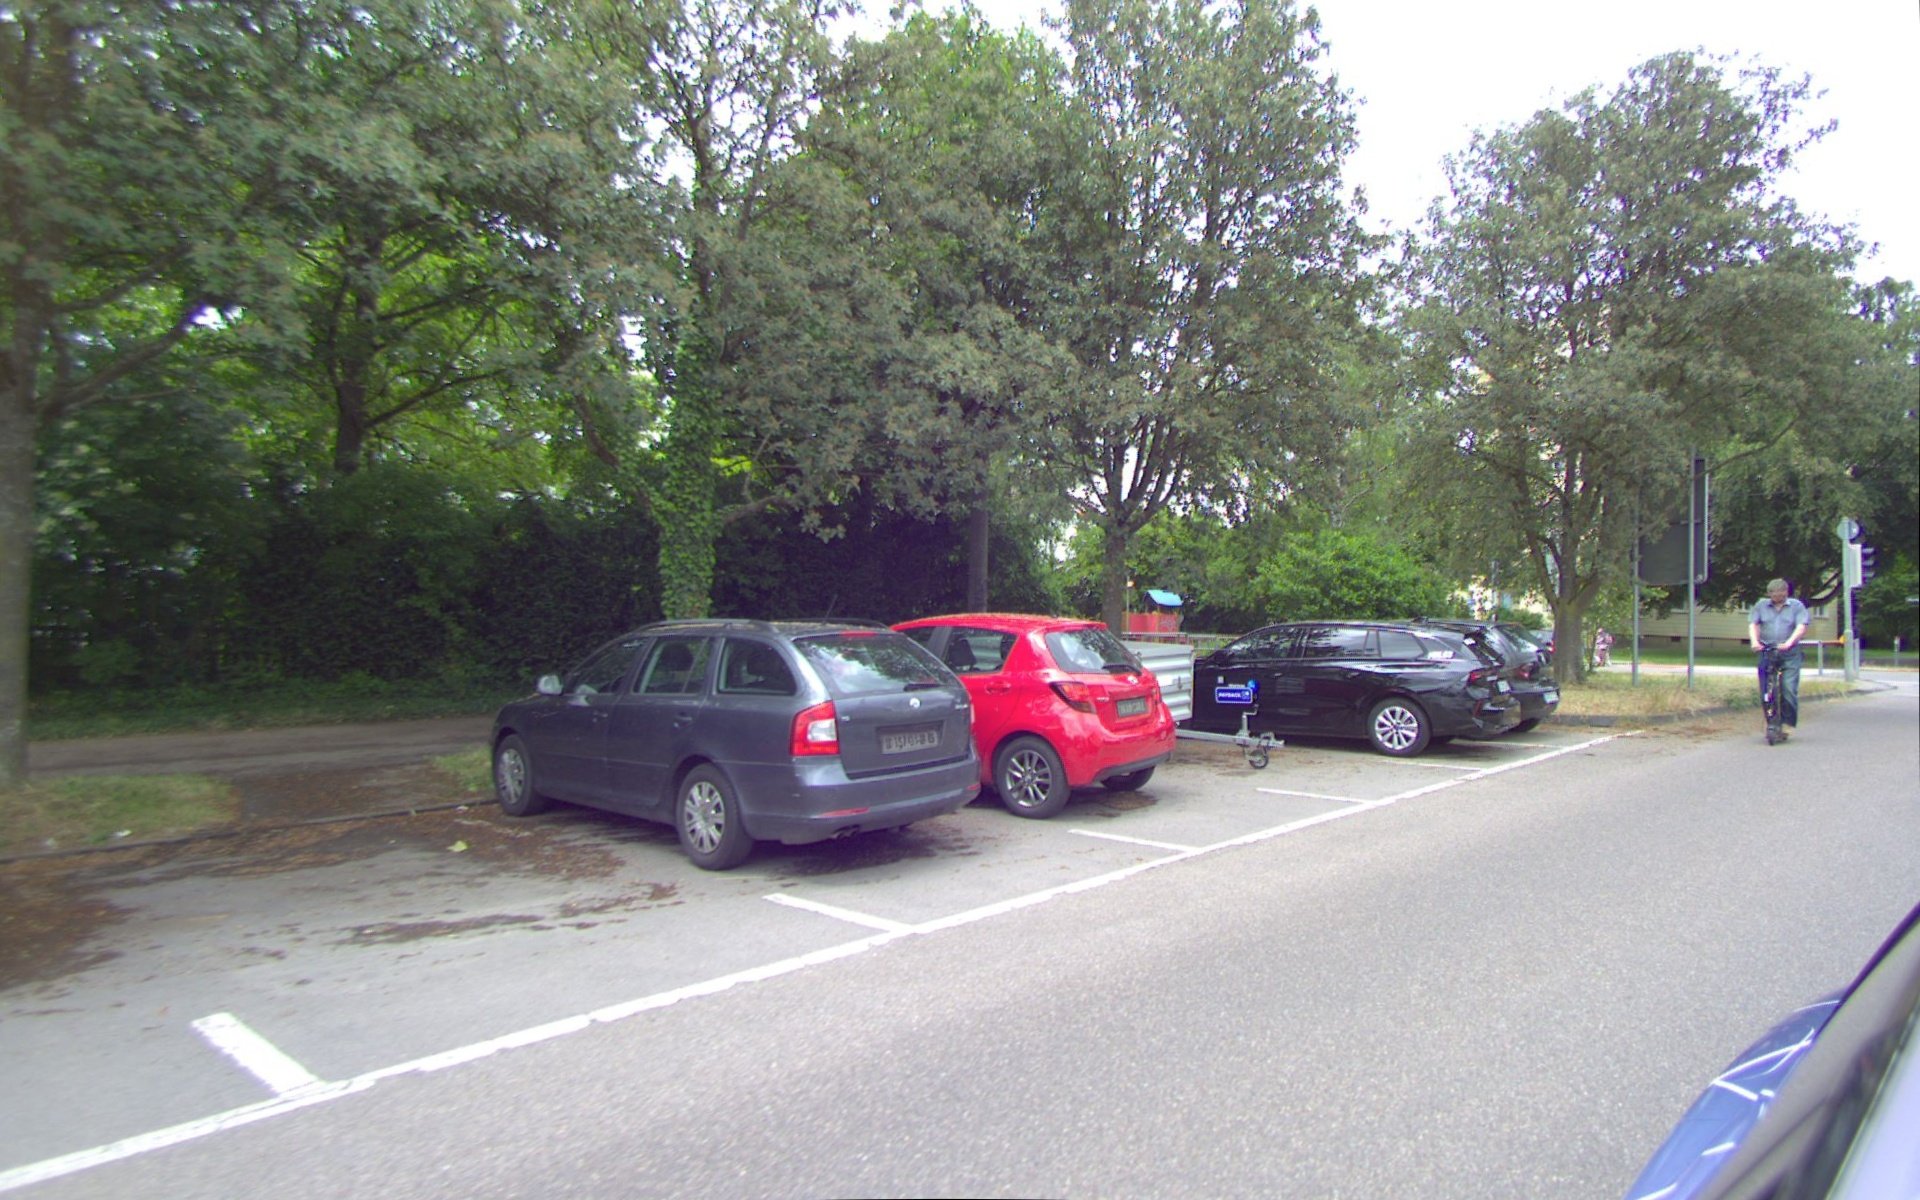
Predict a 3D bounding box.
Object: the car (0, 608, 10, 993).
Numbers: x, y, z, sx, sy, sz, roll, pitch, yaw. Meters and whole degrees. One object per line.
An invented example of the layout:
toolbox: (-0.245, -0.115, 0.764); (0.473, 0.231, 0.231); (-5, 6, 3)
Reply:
car: (-5.475, 0.789, 4.351); (3.320, 1.483, 1.611); (-1, -1, 39)

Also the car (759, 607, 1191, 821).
car: (0.035, 0.831, 8.775); (3.514, 1.495, 1.571); (-1, -2, 37)

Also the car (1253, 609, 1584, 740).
car: (5.962, 0.903, 13.469); (1.550, 1.495, 3.718); (2, -2, -43)

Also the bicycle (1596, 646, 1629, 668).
bicycle: (18.123, 1.586, 28.122); (0.513, 0.504, 0.981); (4, -5, 19)

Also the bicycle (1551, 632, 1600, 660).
bicycle: (18.133, 1.331, 29.851); (0.631, 0.768, 1.676); (0, -1, 8)

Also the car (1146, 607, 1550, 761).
car: (4.377, 0.859, 11.769); (4.125, 1.495, 1.555); (-1, -2, 38)

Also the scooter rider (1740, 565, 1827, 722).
scooter rider: (9.705, 0.495, 11.915); (0.681, 1.752, 1.177); (-1, -2, 44)

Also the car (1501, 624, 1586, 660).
car: (26.452, 1.904, 45.971); (1.661, 1.526, 2.924); (3, -3, -26)

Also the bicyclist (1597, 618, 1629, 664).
bicyclist: (18.168, 1.147, 28.167); (0.513, 1.202, 0.961); (3, -5, 19)

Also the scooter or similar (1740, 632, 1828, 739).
scooter or similar: (9.668, 0.965, 11.861); (0.681, 1.154, 1.436); (-1, -2, 44)

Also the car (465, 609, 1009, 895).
car: (-1.799, 0.828, 7.264); (4.213, 1.483, 1.611); (-1, -2, 41)

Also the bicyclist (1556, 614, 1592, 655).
bicyclist: (18.130, 1.004, 29.910); (0.631, 1.177, 0.801); (0, -1, 9)

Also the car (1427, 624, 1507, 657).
car: (25.337, 2.036, 50.734); (1.782, 1.612, 3.828); (0, -2, -6)

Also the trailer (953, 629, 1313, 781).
trailer: (1.727, 0.972, 10.616); (3.396, 1.283, 1.593); (-1, -1, 40)
